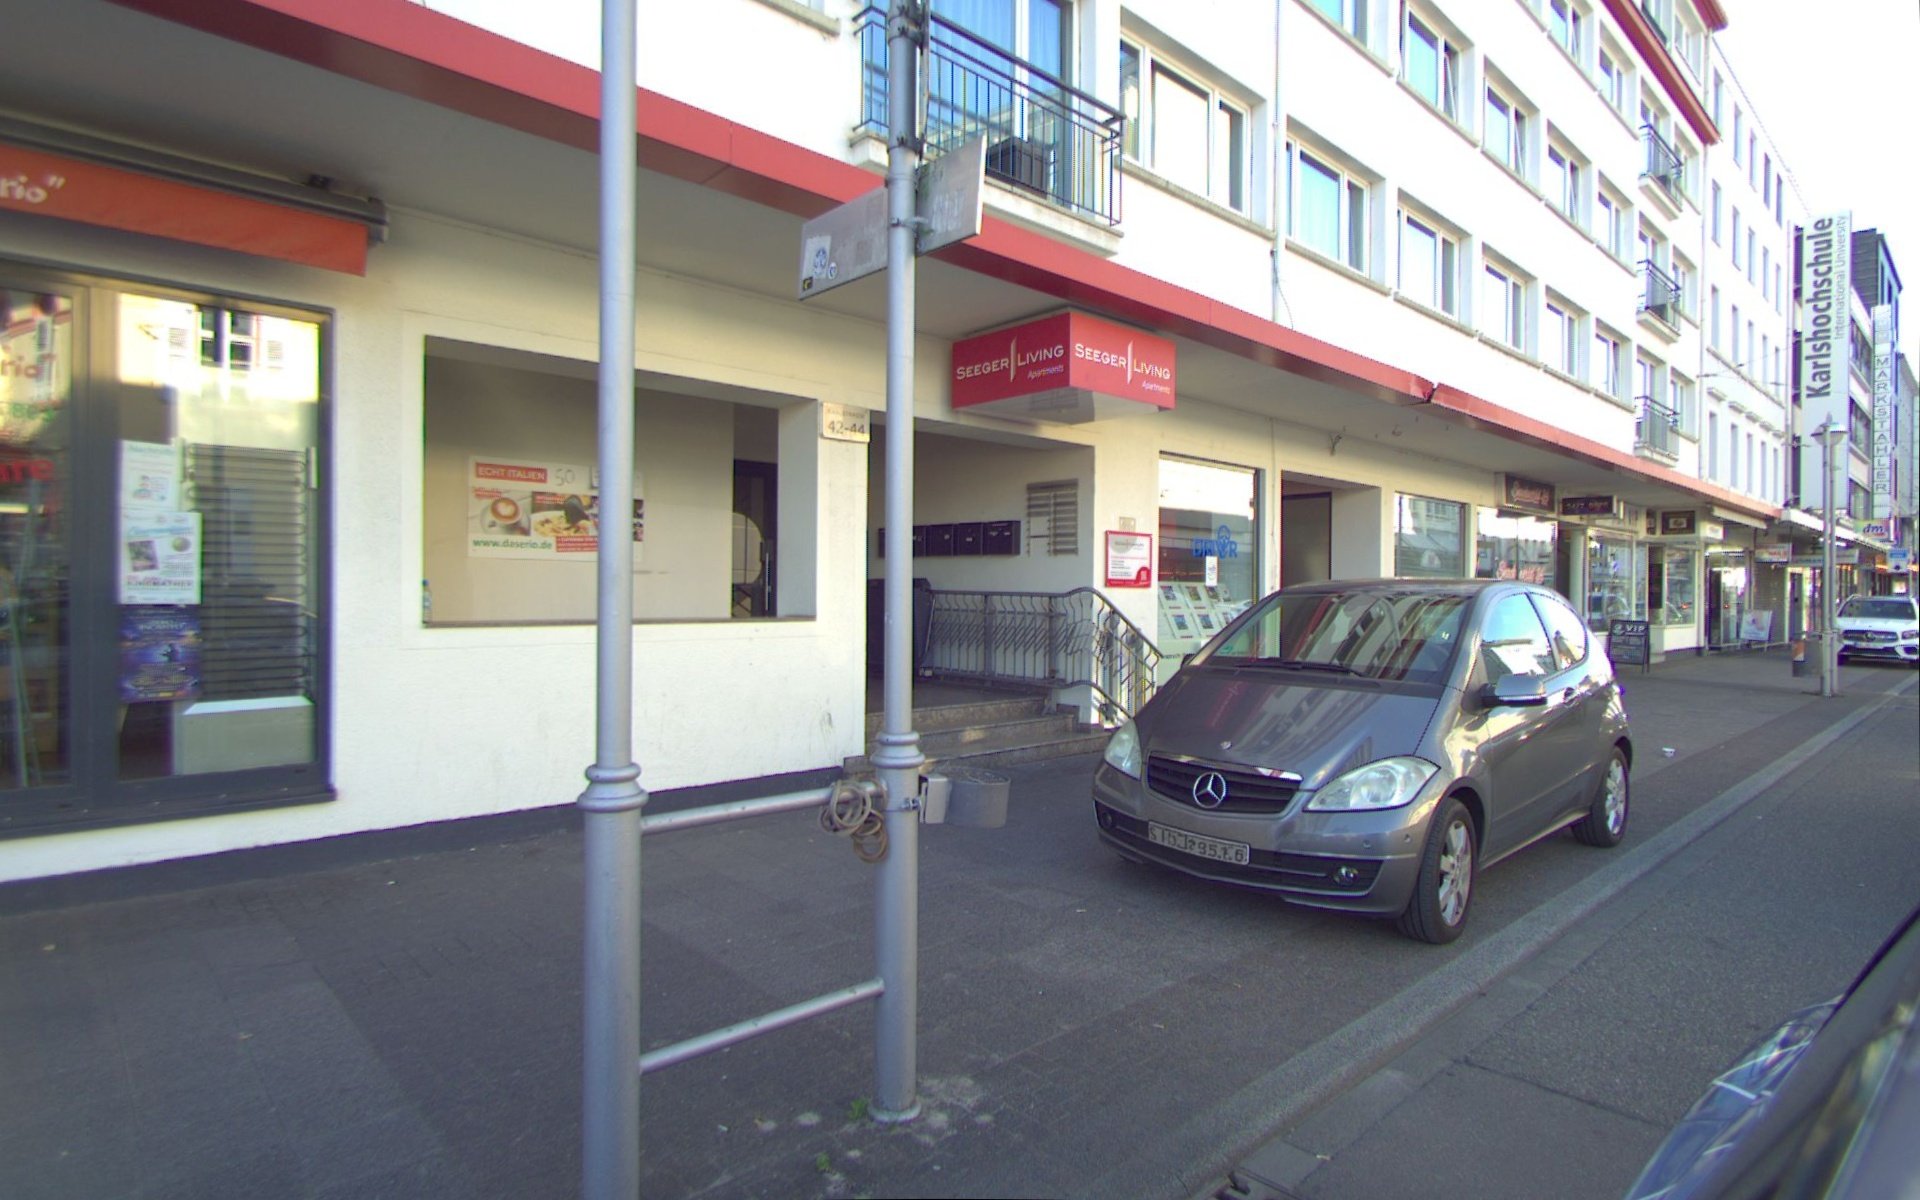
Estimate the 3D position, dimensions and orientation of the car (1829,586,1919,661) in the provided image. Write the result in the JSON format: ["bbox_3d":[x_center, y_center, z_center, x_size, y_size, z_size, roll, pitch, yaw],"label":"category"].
[{"bbox_3d":[22.393,0.519,24.346,1.994,1.650,3.935,1,1,45],"label":"car"}]

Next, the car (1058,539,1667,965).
[{"bbox_3d":[2.483,0.560,5.695,3.932,1.565,1.681,0,0,-43],"label":"car"}]
